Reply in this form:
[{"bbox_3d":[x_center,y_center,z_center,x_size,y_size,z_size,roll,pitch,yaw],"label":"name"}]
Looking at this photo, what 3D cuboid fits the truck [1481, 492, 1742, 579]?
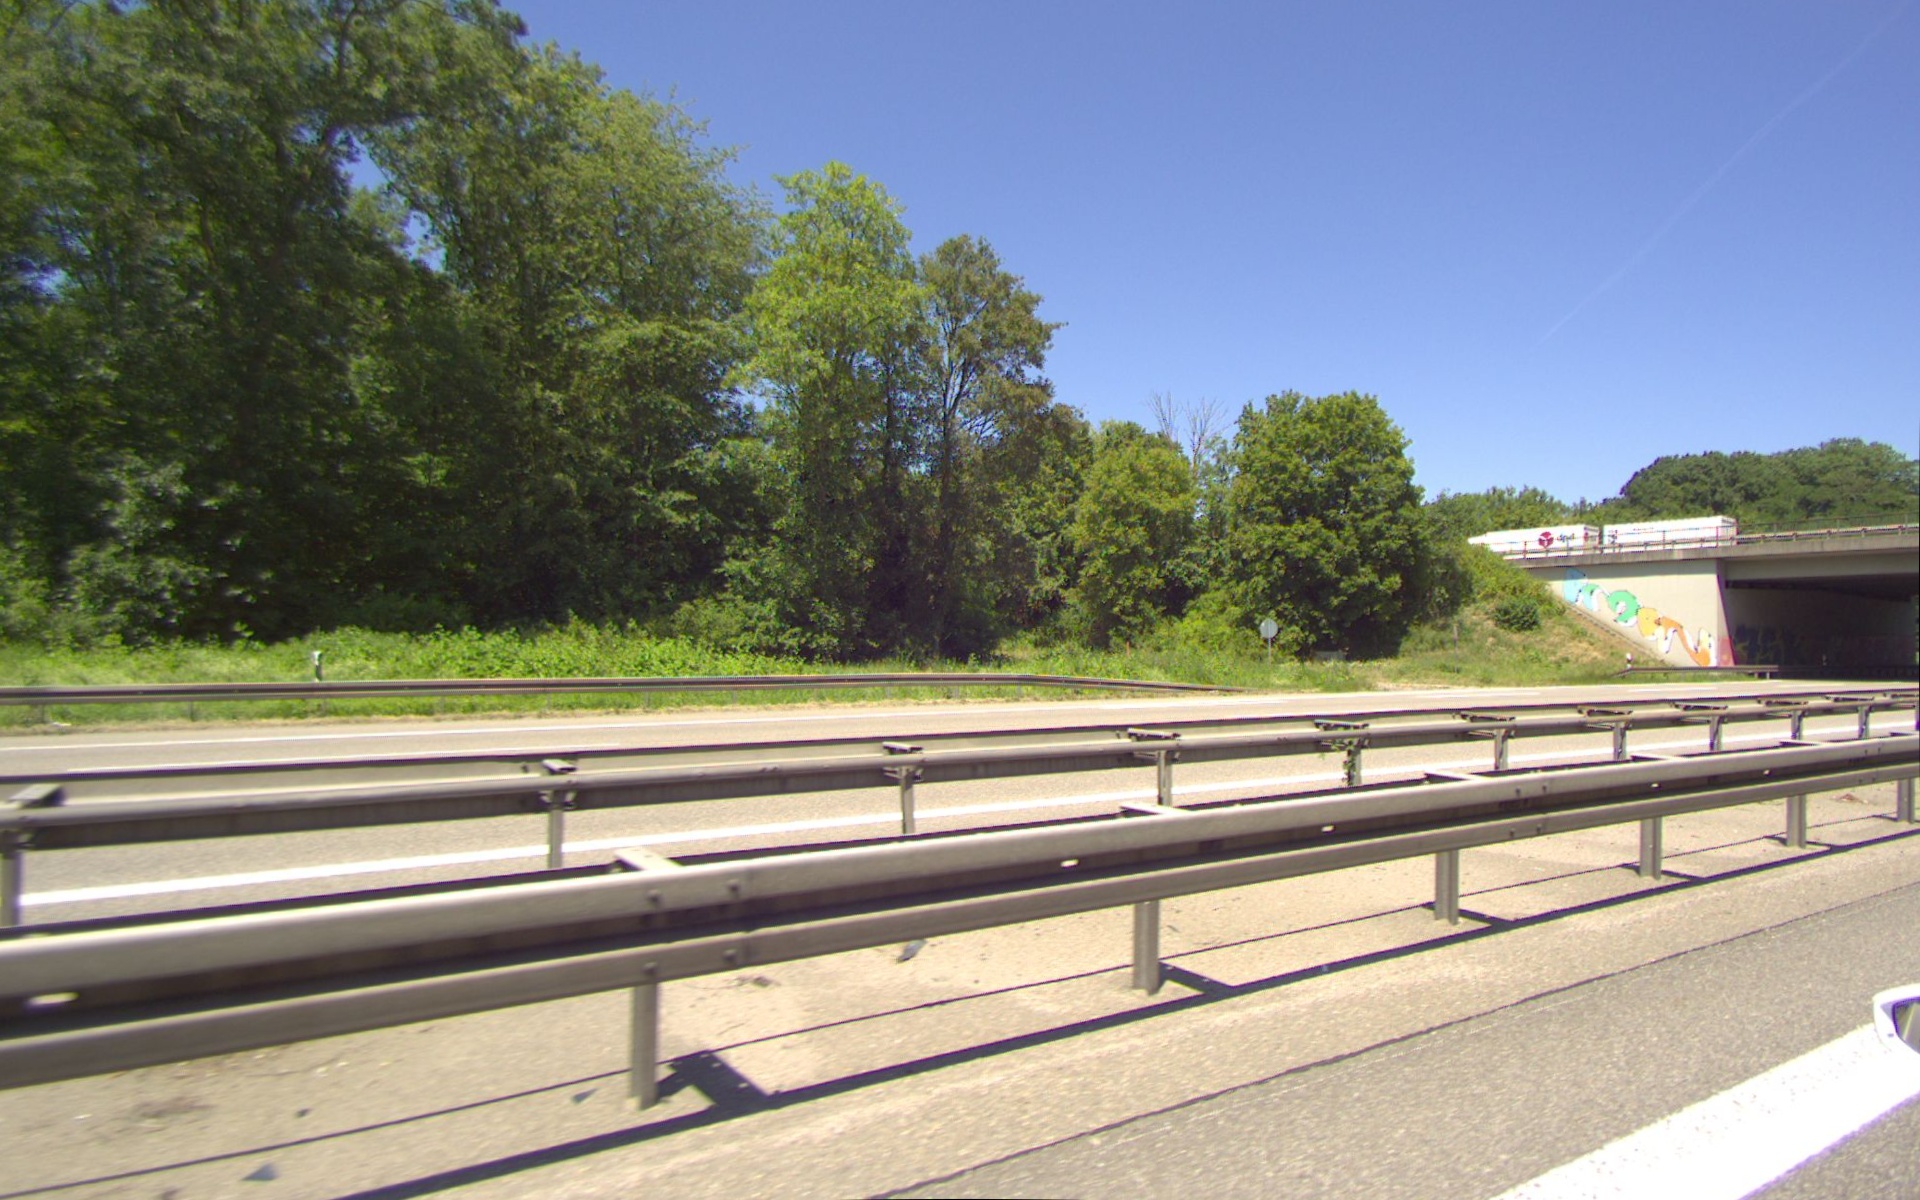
[{"bbox_3d":[48.319,-4.530,75.633,3.145,5.639,16.343,2,0,-36],"label":"truck"}]
